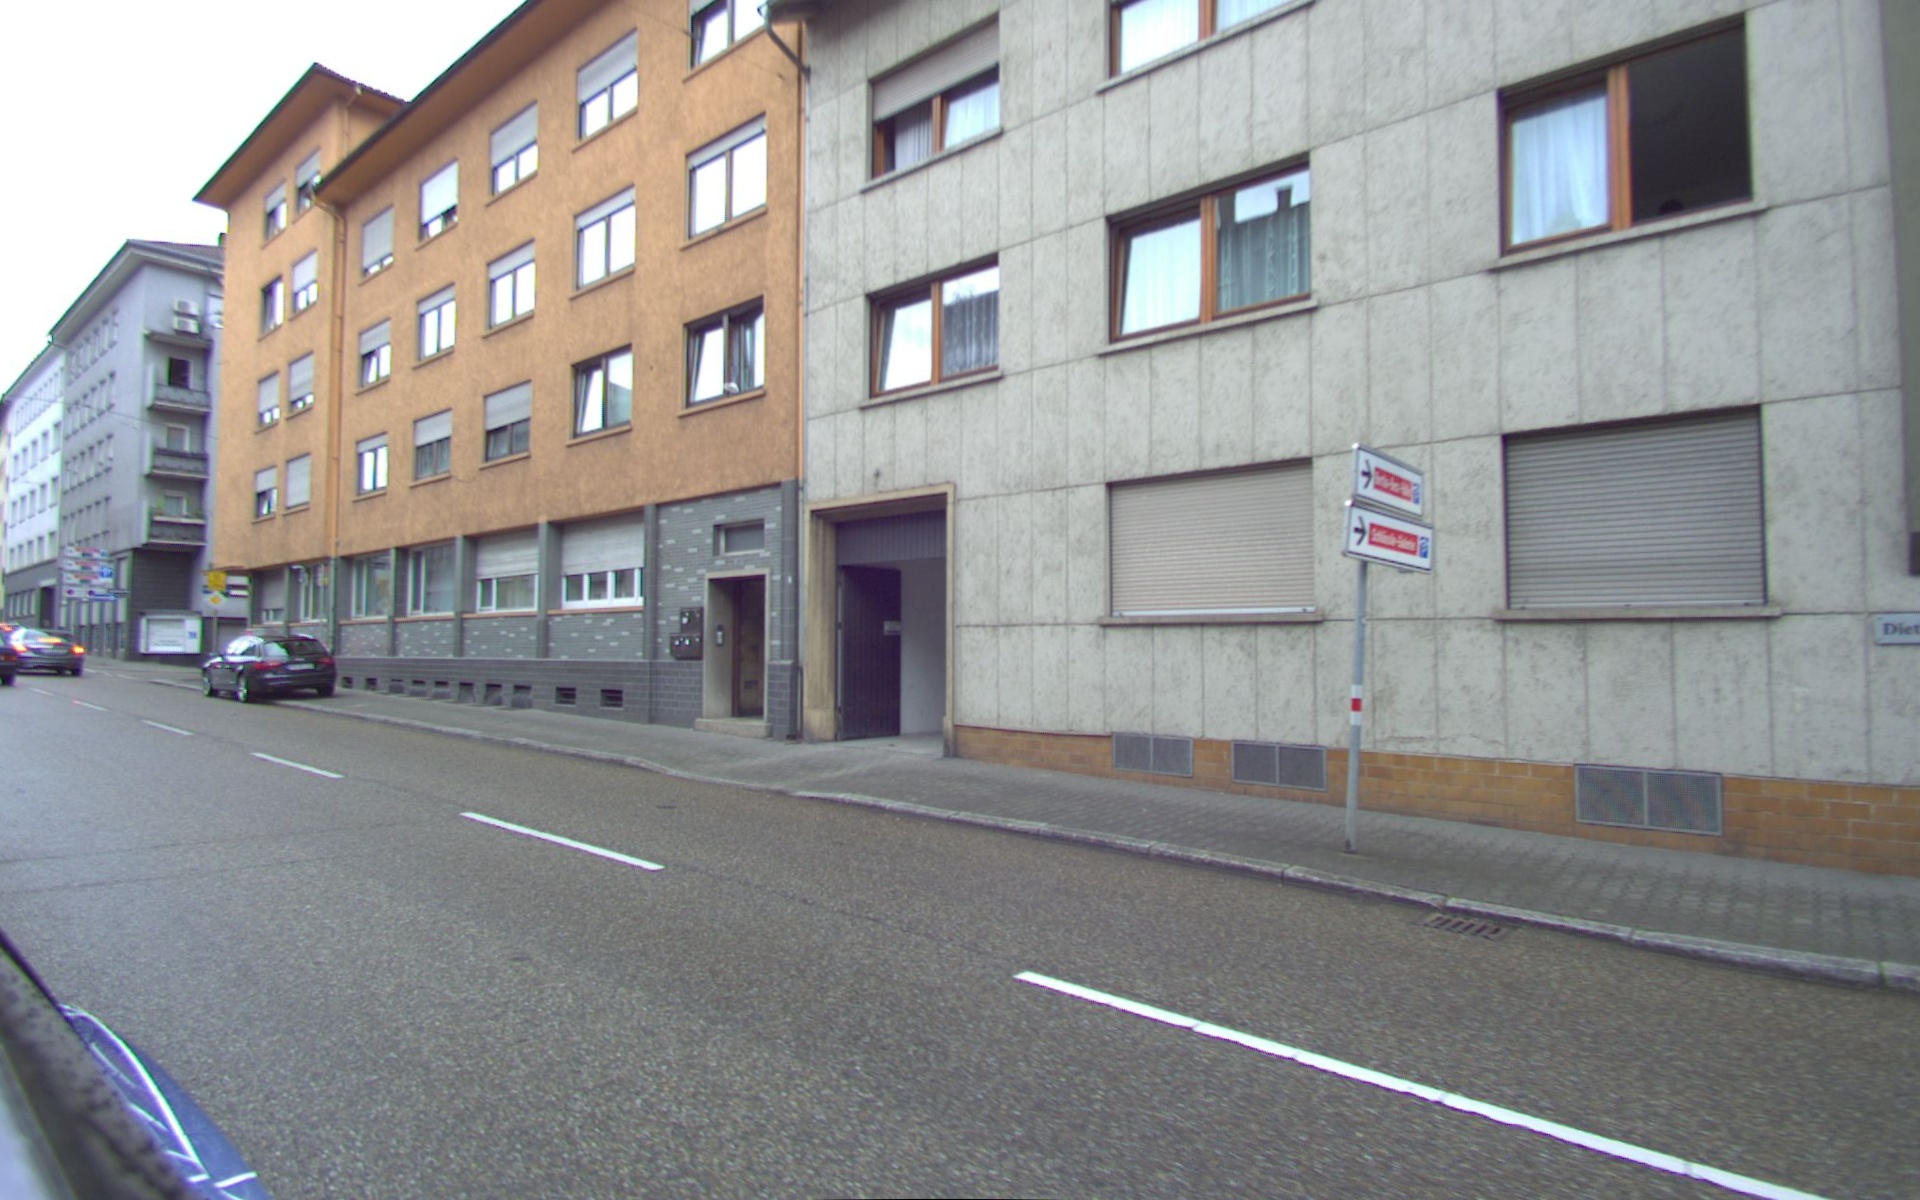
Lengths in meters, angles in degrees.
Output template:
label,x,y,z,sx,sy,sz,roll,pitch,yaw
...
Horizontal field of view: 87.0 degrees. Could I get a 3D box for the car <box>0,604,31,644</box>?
label,x,y,z,sx,sy,sz,roll,pitch,yaw
car,-37.280,0.908,38.850,4.370,1.484,1.705,-1,-5,40

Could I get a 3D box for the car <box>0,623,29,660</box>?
label,x,y,z,sx,sy,sz,roll,pitch,yaw
car,-48.314,2.091,50.850,4.216,1.735,1.832,0,0,41

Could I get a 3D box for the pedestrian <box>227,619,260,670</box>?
label,x,y,z,sx,sy,sz,roll,pitch,yaw
pedestrian,-24.028,1.476,33.928,0.757,1.652,1.024,-1,0,-44

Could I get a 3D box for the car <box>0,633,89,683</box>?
label,x,y,z,sx,sy,sz,roll,pitch,yaw
car,-29.301,1.824,32.136,4.362,1.381,1.678,0,-5,39

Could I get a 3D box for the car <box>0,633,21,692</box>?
label,x,y,z,sx,sy,sz,roll,pitch,yaw
car,-24.996,1.481,25.284,4.358,1.381,1.582,-1,-5,39

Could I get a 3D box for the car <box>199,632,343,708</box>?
label,x,y,z,sx,sy,sz,roll,pitch,yaw
car,-16.070,1.556,23.530,4.216,1.485,1.776,0,0,41

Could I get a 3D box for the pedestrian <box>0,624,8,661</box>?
label,x,y,z,sx,sy,sz,roll,pitch,yaw
pedestrian,-53.998,2.376,56.367,1.257,2.029,1.292,-1,0,41
